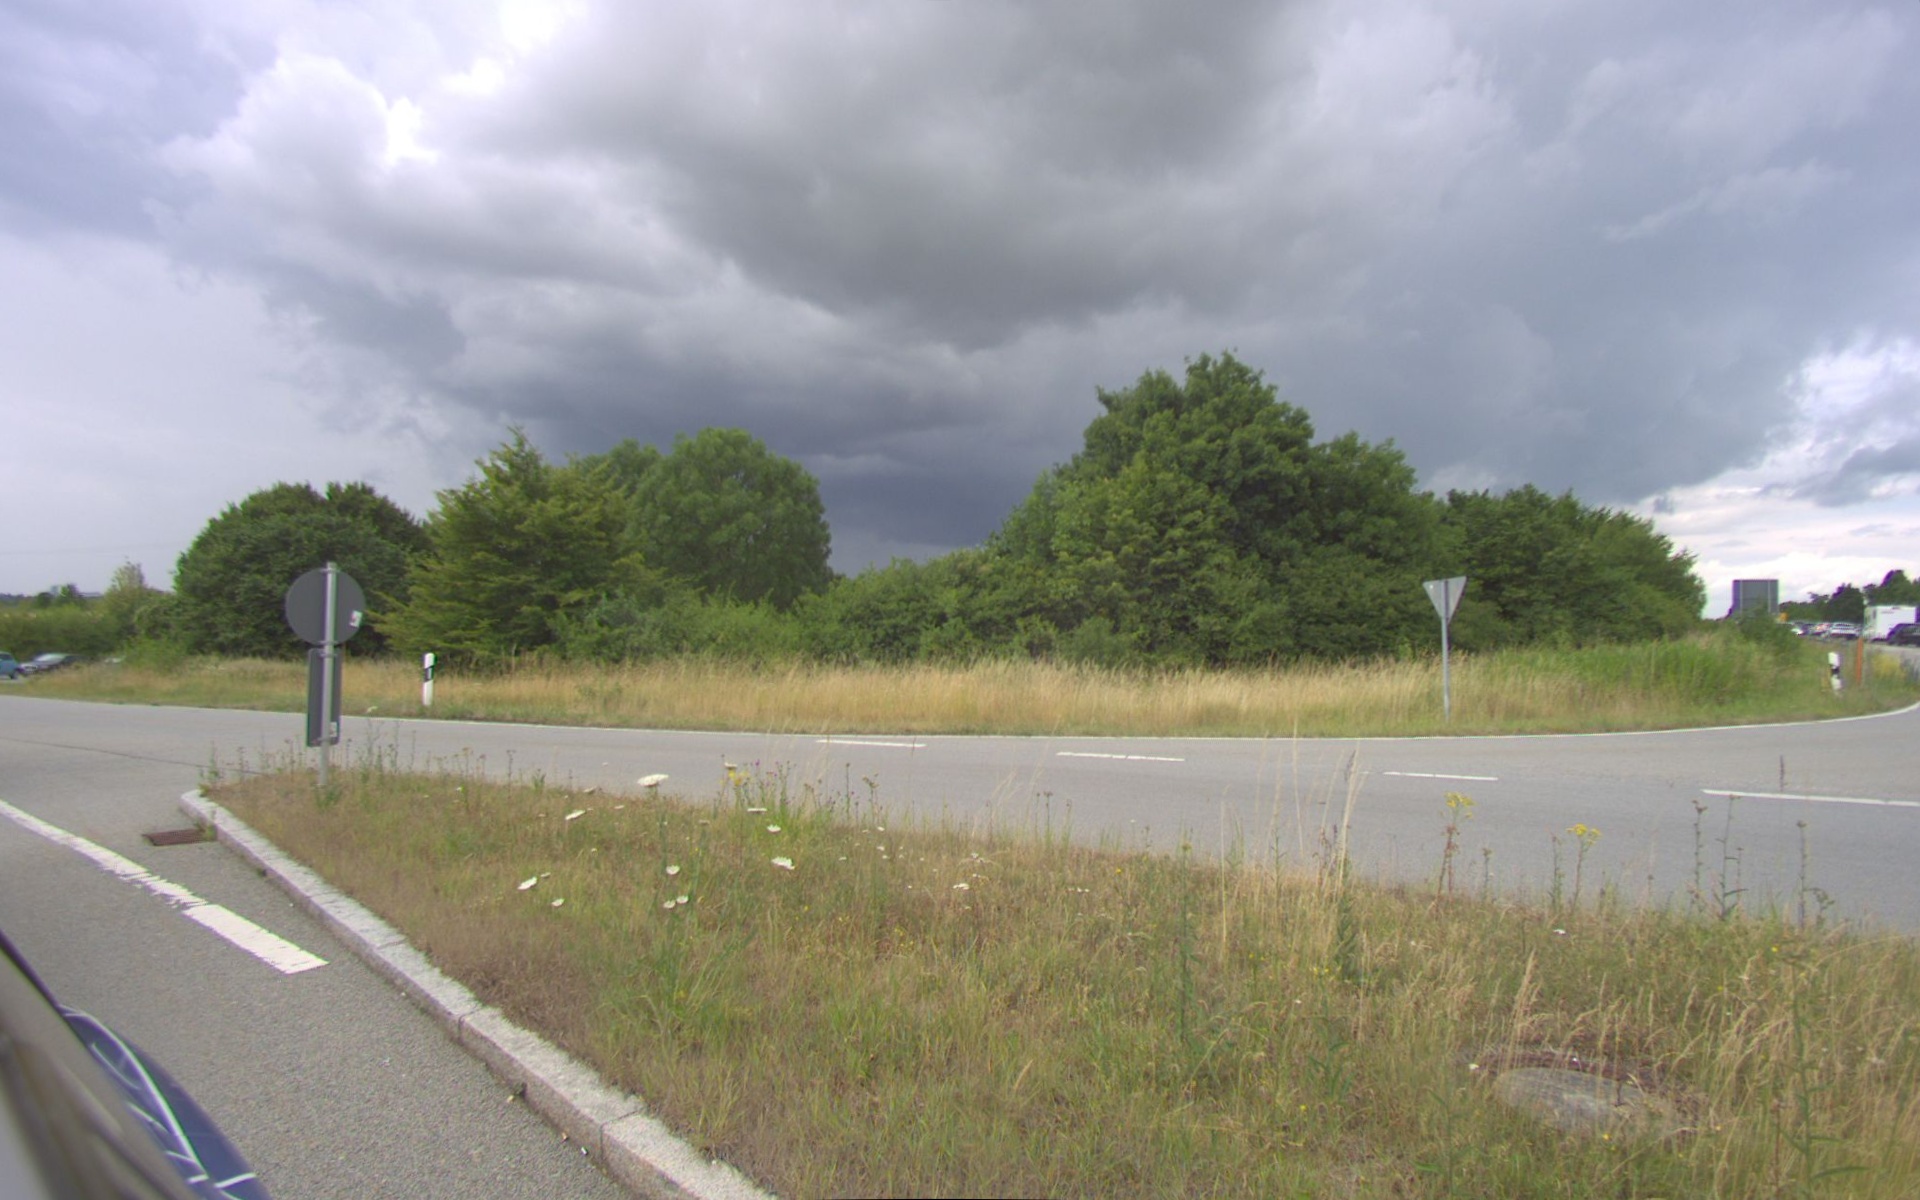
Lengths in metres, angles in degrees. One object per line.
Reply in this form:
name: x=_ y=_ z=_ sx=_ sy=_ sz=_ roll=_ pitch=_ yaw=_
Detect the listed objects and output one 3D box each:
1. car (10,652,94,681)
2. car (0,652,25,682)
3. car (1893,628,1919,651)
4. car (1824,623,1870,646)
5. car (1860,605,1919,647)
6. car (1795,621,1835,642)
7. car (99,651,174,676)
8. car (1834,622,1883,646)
car: x=-53.569 y=3.907 z=59.804 sx=1.793 sy=1.544 sz=4.008 roll=1 pitch=-2 yaw=-10
car: x=-52.541 y=3.621 z=54.331 sx=1.791 sy=1.544 sz=4.011 roll=1 pitch=-2 yaw=-16
car: x=66.204 y=2.734 z=69.966 sx=1.843 sy=1.537 sz=3.954 roll=-1 pitch=-2 yaw=34
car: x=79.664 y=3.084 z=90.969 sx=2.333 sy=1.936 sz=4.822 roll=0 pitch=-2 yaw=32
car: x=71.240 y=2.026 z=77.537 sx=2.333 sy=3.052 sz=6.486 roll=0 pitch=-2 yaw=32
car: x=84.063 y=3.110 z=99.514 sx=2.334 sy=1.936 sz=4.821 roll=0 pitch=-2 yaw=33
car: x=-54.201 y=4.158 z=66.713 sx=1.795 sy=1.544 sz=4.003 roll=1 pitch=-2 yaw=-4
car: x=75.799 y=2.880 z=85.471 sx=2.334 sy=1.936 sz=4.821 roll=0 pitch=-2 yaw=33
